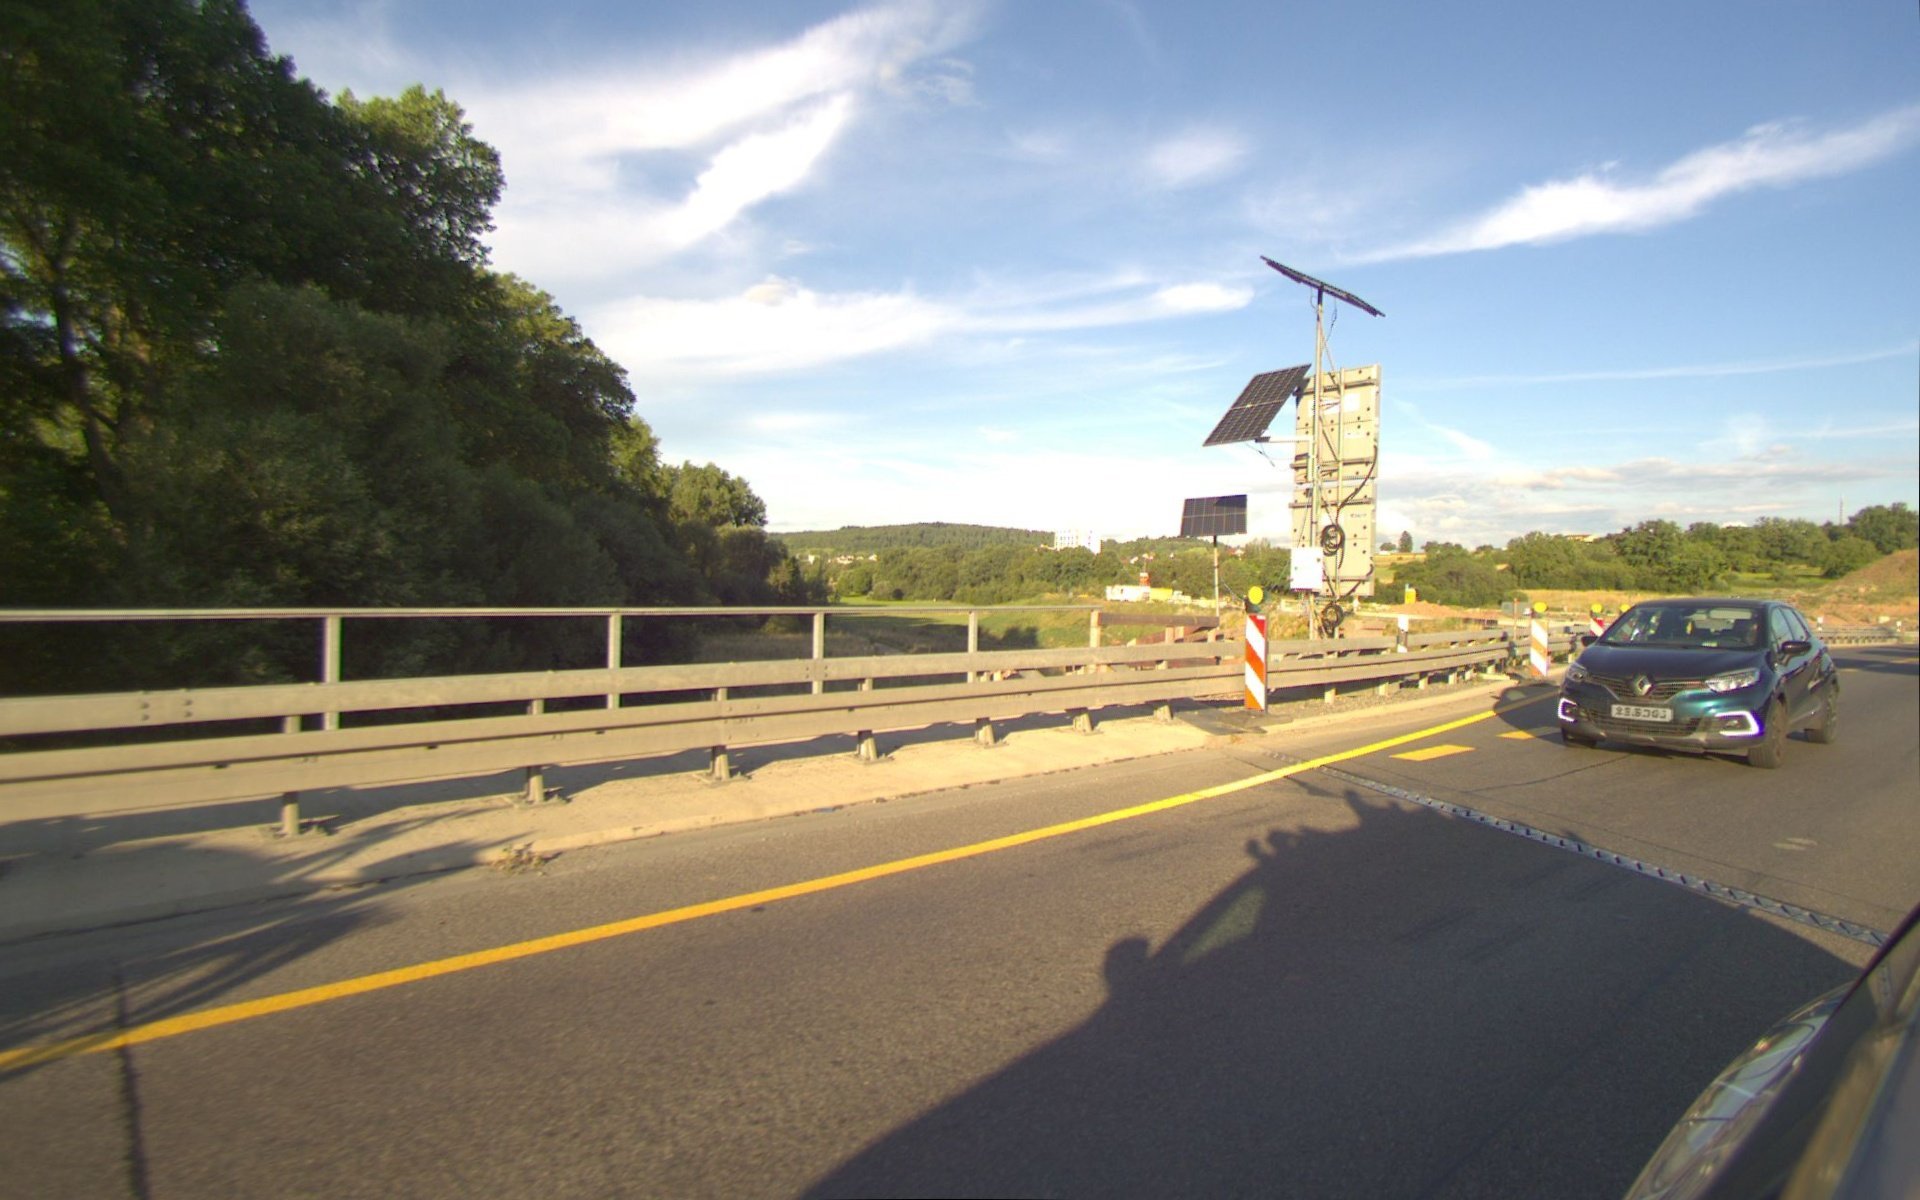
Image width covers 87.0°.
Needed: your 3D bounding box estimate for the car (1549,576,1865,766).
[{"bbox_3d":[7.903,0.630,10.569,4.061,1.606,1.777,1,-1,-40],"label":"car"}]
